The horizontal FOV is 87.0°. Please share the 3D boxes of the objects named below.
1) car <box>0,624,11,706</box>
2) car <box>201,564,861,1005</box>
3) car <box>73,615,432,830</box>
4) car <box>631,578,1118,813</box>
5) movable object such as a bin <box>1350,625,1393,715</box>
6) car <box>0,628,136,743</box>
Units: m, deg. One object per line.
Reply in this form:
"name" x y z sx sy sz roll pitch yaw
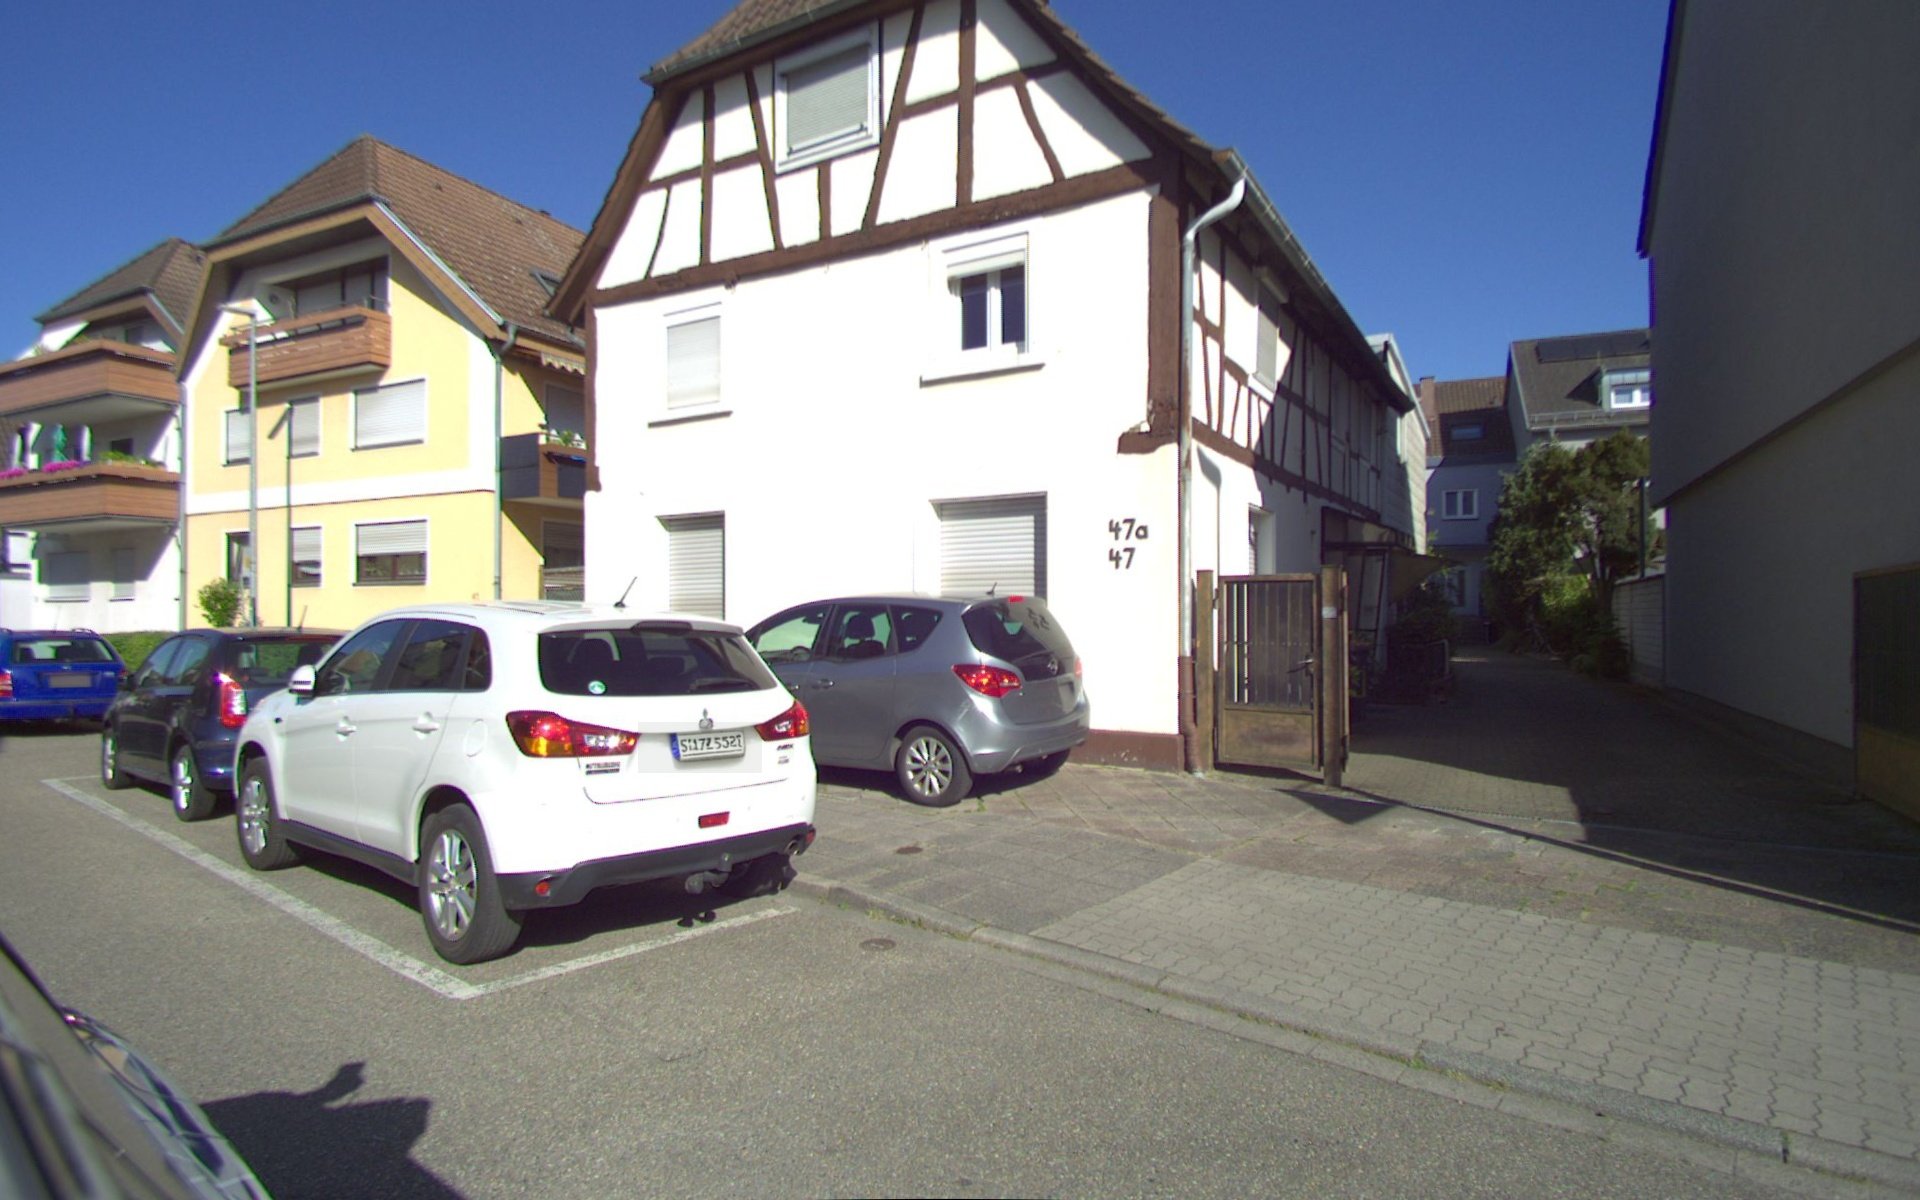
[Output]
"car" -20.437 1.270 19.958 3.991 1.568 1.743 -1 -2 35
"car" -2.622 0.742 5.726 4.107 1.631 1.705 -2 -2 39
"car" -6.361 0.922 8.971 3.679 1.519 1.639 -2 -2 39
"car" -0.859 0.696 8.725 4.101 1.599 1.628 -1 -1 34
"movable object such as a bin" 5.487 0.921 13.490 0.457 1.169 0.487 -1 -2 31
"car" -13.509 1.151 14.628 3.950 1.450 1.603 -2 -2 37
